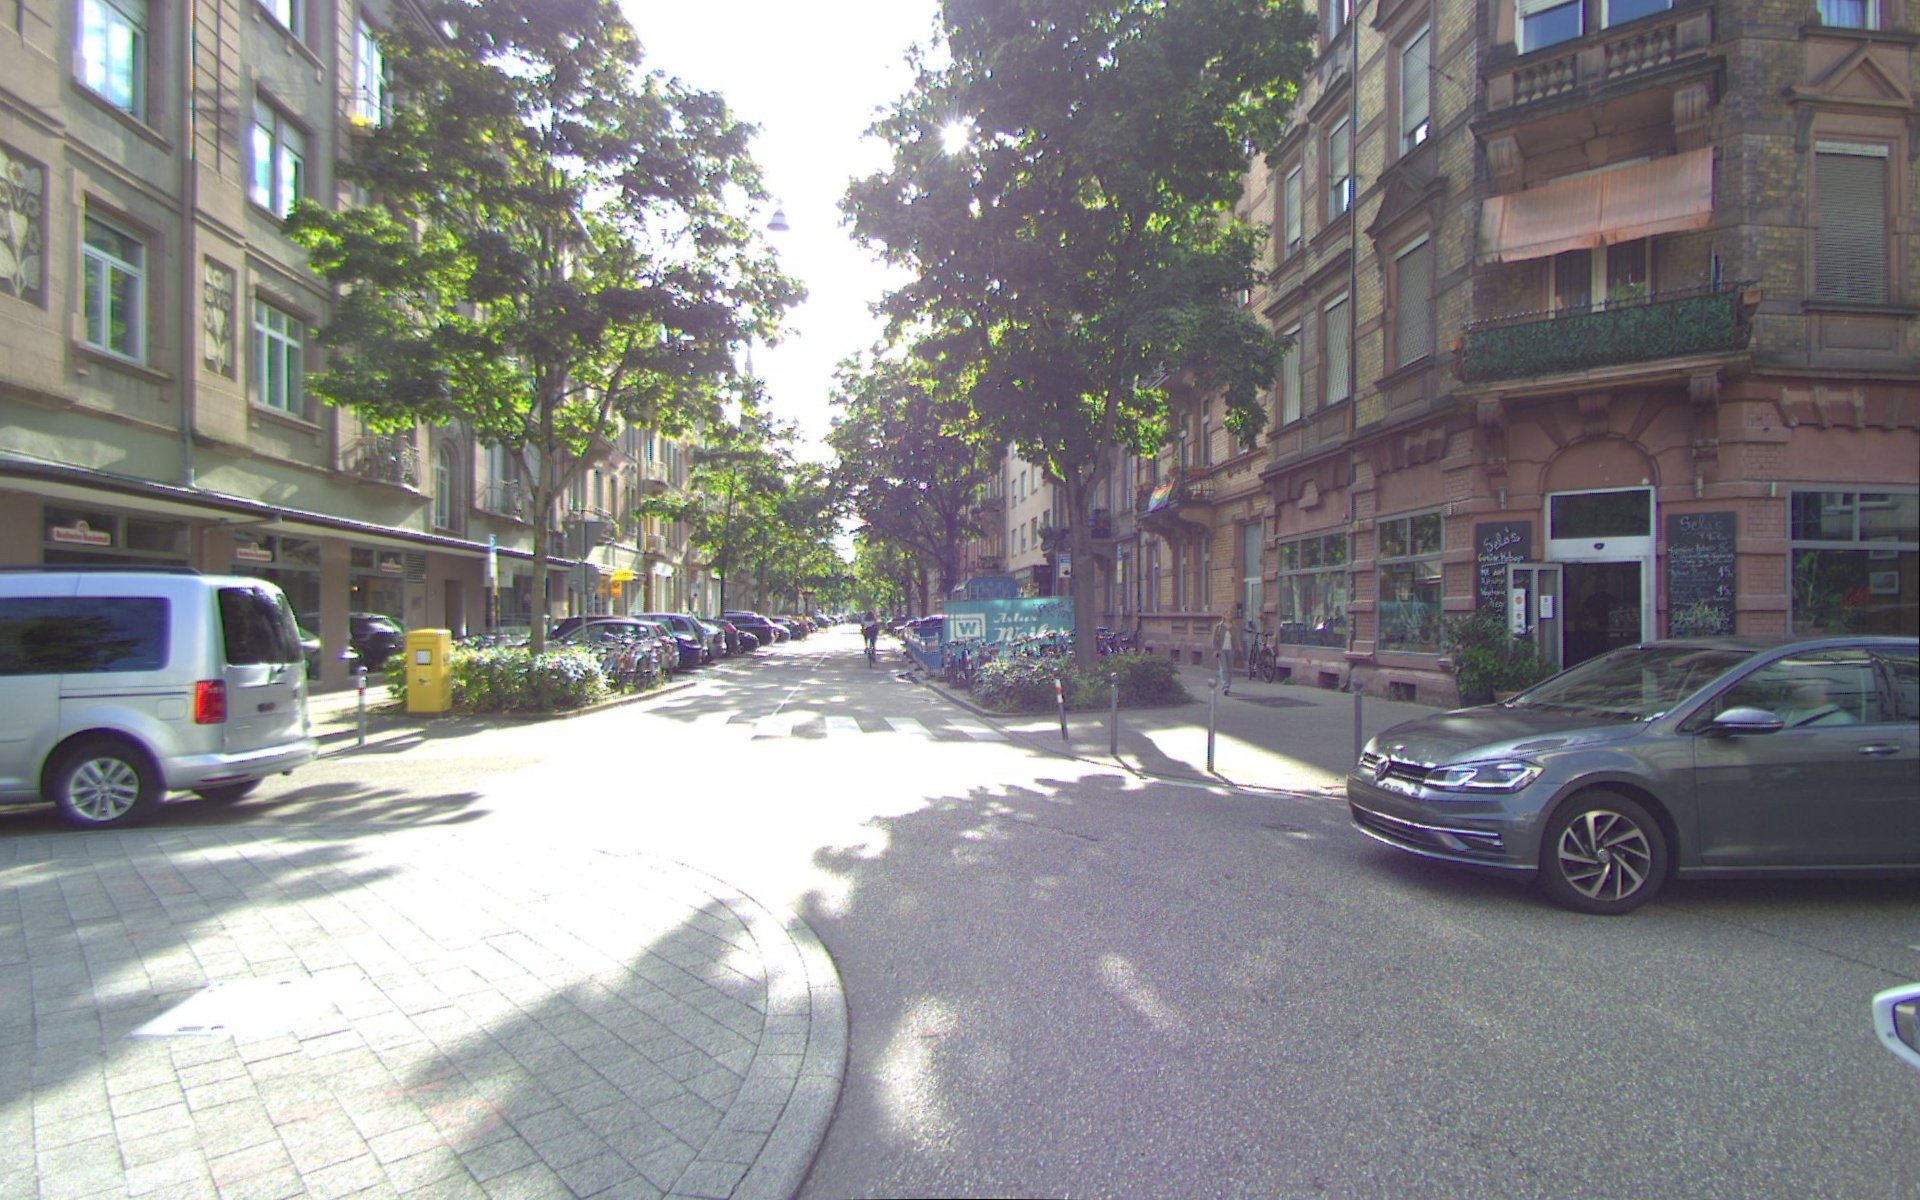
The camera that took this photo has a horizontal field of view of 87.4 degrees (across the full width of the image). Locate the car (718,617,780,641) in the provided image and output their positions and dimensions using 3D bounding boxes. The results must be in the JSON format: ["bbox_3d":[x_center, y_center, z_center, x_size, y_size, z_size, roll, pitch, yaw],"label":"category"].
[{"bbox_3d":[-11.972,1.637,57.160,3.275,1.333,1.406,0,-2,-5],"label":"car"}]

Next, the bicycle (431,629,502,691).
[{"bbox_3d":[-9.966,1.181,20.372,0.569,1.149,2.428,0,-1,-8],"label":"bicycle"}]

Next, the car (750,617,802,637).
[{"bbox_3d":[-12.200,1.805,66.667,3.275,1.333,1.406,0,-2,-5],"label":"car"}]

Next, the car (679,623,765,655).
[{"bbox_3d":[-9.803,1.608,41.564,3.275,1.270,1.376,0,-2,-5],"label":"car"}]

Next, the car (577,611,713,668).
[{"bbox_3d":[-9.368,1.159,30.081,3.629,1.618,1.576,0,1,-5],"label":"car"}]

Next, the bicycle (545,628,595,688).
[{"bbox_3d":[-8.054,1.162,20.806,0.470,1.149,2.260,0,-1,-8],"label":"bicycle"}]

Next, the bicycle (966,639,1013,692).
[{"bbox_3d":[0.631,1.432,22.344,0.581,1.043,2.072,-2,0,-11],"label":"bicycle"}]

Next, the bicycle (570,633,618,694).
[{"bbox_3d":[-7.584,1.276,20.896,0.470,1.173,2.288,0,-1,-8],"label":"bicycle"}]

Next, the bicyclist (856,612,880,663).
[{"bbox_3d":[-2.998,1.223,32.818,0.679,1.608,1.128,0,1,0],"label":"bicyclist"}]

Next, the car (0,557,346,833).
[{"bbox_3d":[-7.247,0.667,7.402,4.253,1.814,1.832,-1,-2,-11],"label":"car"}]

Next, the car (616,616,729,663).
[{"bbox_3d":[-9.180,1.271,32.279,3.275,1.462,1.376,0,-2,-5],"label":"car"}]

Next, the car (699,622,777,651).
[{"bbox_3d":[-9.998,1.644,45.315,3.275,1.270,1.376,0,-2,-5],"label":"car"}]

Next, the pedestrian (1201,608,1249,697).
[{"bbox_3d":[4.966,0.965,18.872,0.603,1.599,0.810,-3,1,-1],"label":"pedestrian"}]

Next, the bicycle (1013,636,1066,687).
[{"bbox_3d":[1.731,1.334,22.192,0.581,1.025,2.072,-2,0,-11],"label":"bicycle"}]

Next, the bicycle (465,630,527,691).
[{"bbox_3d":[-9.409,1.196,20.463,0.470,1.149,2.428,0,-1,-8],"label":"bicycle"}]

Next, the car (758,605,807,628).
[{"bbox_3d":[-12.851,1.215,72.819,3.295,1.615,1.595,0,1,-5],"label":"car"}]

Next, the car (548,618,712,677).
[{"bbox_3d":[-8.966,1.266,27.562,3.997,1.496,1.576,0,1,-5],"label":"car"}]

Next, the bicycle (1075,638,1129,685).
[{"bbox_3d":[3.264,1.402,23.282,0.581,0.981,2.072,-2,0,-11],"label":"bicycle"}]

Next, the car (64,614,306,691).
[{"bbox_3d":[-17.386,1.137,22.748,3.934,1.572,1.760,0,1,-16],"label":"car"}]

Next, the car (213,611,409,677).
[{"bbox_3d":[-16.812,1.109,26.231,3.934,1.572,1.760,0,1,-16],"label":"car"}]

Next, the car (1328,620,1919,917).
[{"bbox_3d":[4.460,0.875,5.914,3.922,1.456,1.797,0,-2,-2],"label":"car"}]

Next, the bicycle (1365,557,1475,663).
[{"bbox_3d":[7.120,0.161,15.674,0.546,1.541,2.163,0,-1,-6],"label":"bicycle"}]

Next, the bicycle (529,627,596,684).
[{"bbox_3d":[-8.694,1.184,22.089,0.695,1.117,2.511,-1,0,-6],"label":"bicycle"}]

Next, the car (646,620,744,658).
[{"bbox_3d":[-9.680,1.433,36.825,3.275,1.350,1.376,0,-2,-5],"label":"car"}]

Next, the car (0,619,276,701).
[{"bbox_3d":[-16.379,1.154,20.219,3.934,1.449,1.760,0,1,-16],"label":"car"}]

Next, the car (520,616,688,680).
[{"bbox_3d":[-8.826,1.181,25.100,3.627,1.496,1.576,0,1,-3],"label":"car"}]

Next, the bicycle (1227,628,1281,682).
[{"bbox_3d":[6.413,1.188,21.988,0.518,1.081,1.781,1,0,-5],"label":"bicycle"}]

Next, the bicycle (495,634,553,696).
[{"bbox_3d":[-8.887,1.290,20.546,0.470,1.149,2.428,0,-1,-8],"label":"bicycle"}]

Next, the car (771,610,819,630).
[{"bbox_3d":[-13.013,1.553,79.371,3.648,1.492,1.803,0,1,-8],"label":"car"}]

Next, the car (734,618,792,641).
[{"bbox_3d":[-11.804,1.783,60.201,3.275,1.333,1.406,0,-2,-5],"label":"car"}]

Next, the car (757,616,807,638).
[{"bbox_3d":[-12.275,1.844,69.319,3.275,1.495,1.406,0,-2,-5],"label":"car"}]

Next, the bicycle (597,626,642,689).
[{"bbox_3d":[-7.067,1.163,20.939,0.470,1.240,2.290,0,-1,-8],"label":"bicycle"}]

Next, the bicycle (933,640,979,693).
[{"bbox_3d":[-0.107,1.436,22.125,0.581,1.043,2.137,-2,0,-11],"label":"bicycle"}]

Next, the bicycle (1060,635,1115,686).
[{"bbox_3d":[2.820,1.319,22.420,0.581,1.025,2.072,-2,0,-11],"label":"bicycle"}]

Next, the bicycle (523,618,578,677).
[{"bbox_3d":[-8.394,0.942,20.675,0.470,1.149,2.428,0,-1,-8],"label":"bicycle"}]

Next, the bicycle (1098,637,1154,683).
[{"bbox_3d":[3.903,1.393,23.786,0.581,0.981,2.072,-2,0,-11],"label":"bicycle"}]

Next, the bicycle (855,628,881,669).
[{"bbox_3d":[-2.994,1.563,32.857,0.679,1.215,1.977,0,1,0],"label":"bicycle"}]
